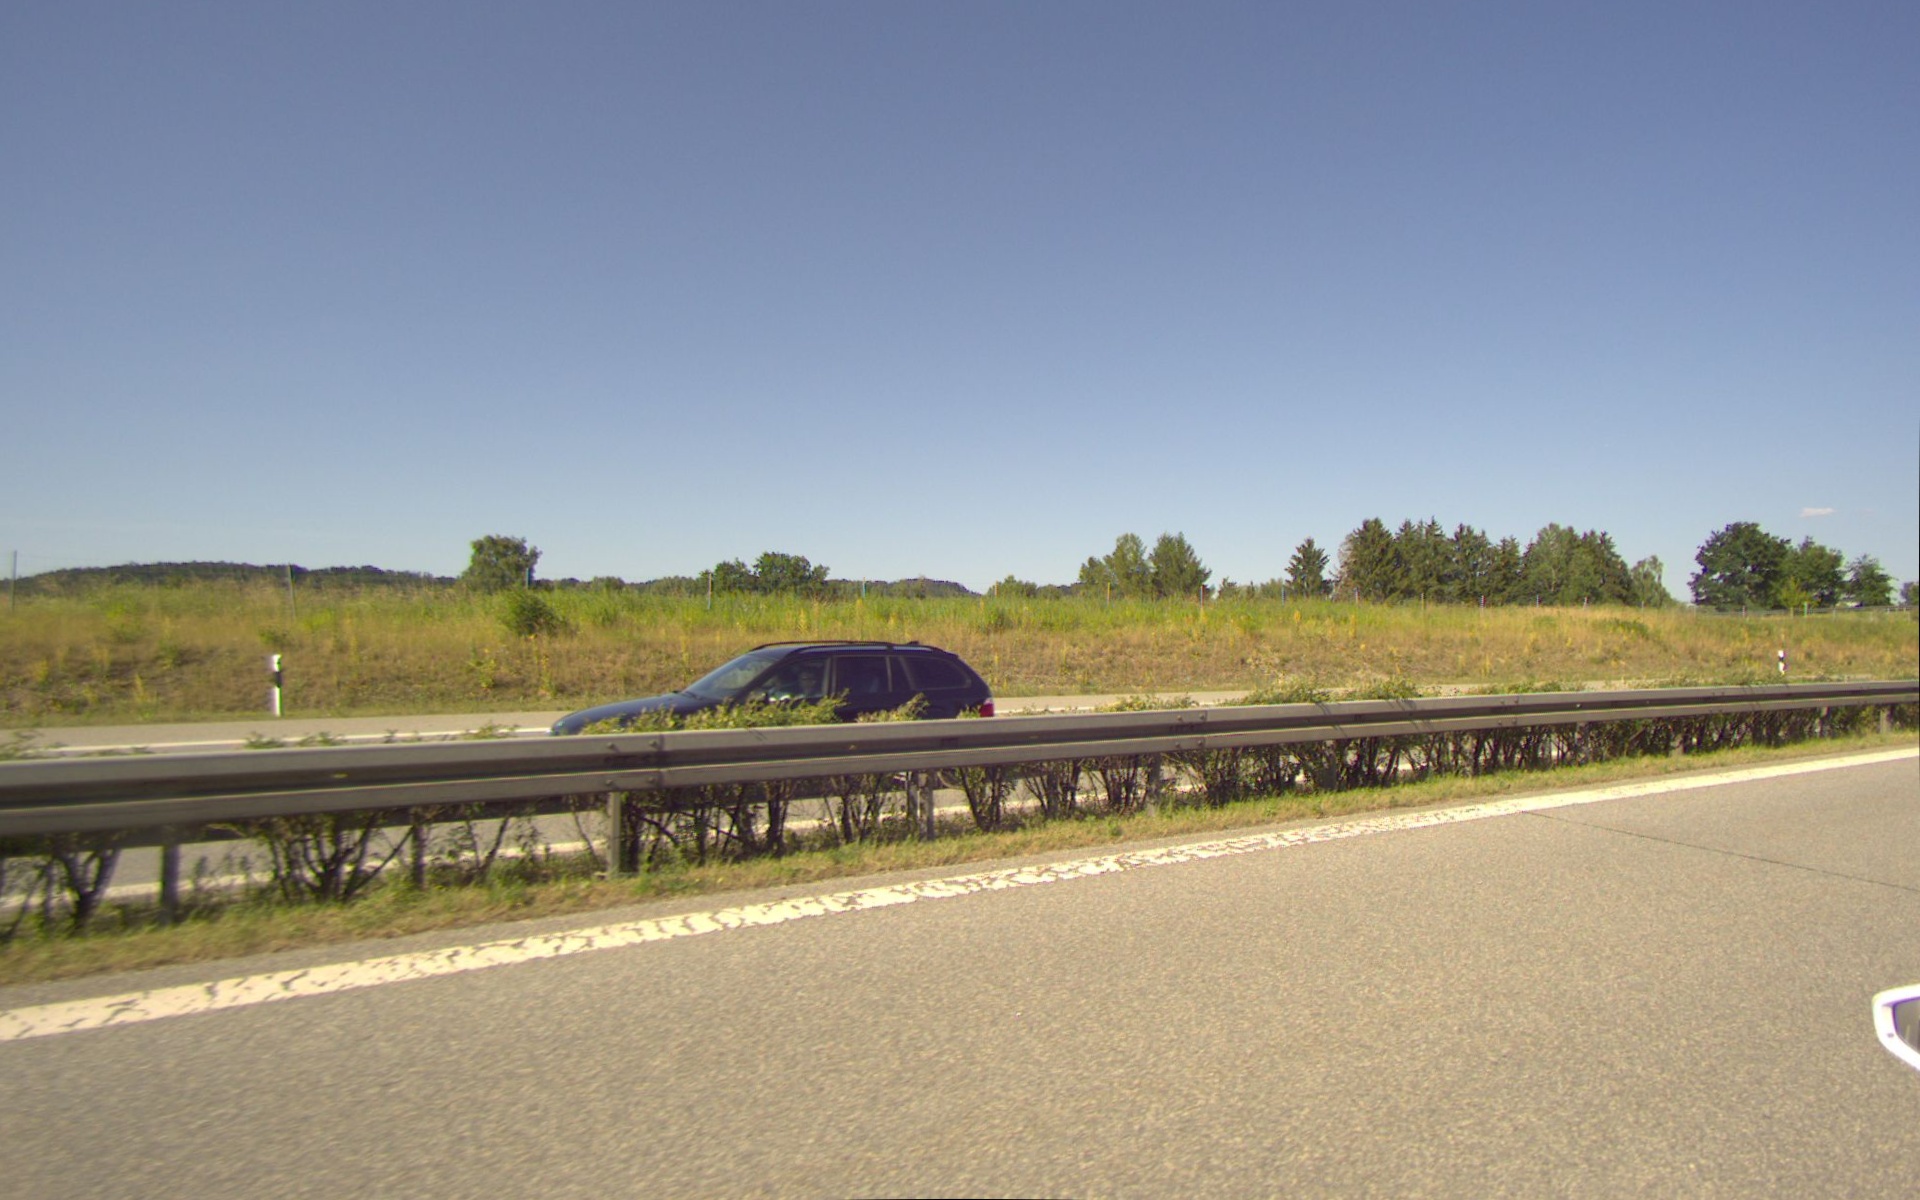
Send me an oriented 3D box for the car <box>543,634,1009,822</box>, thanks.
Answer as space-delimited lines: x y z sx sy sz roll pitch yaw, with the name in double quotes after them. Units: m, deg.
-1.838 1.196 10.634 4.494 1.528 1.821 2 0 -33 "car"
